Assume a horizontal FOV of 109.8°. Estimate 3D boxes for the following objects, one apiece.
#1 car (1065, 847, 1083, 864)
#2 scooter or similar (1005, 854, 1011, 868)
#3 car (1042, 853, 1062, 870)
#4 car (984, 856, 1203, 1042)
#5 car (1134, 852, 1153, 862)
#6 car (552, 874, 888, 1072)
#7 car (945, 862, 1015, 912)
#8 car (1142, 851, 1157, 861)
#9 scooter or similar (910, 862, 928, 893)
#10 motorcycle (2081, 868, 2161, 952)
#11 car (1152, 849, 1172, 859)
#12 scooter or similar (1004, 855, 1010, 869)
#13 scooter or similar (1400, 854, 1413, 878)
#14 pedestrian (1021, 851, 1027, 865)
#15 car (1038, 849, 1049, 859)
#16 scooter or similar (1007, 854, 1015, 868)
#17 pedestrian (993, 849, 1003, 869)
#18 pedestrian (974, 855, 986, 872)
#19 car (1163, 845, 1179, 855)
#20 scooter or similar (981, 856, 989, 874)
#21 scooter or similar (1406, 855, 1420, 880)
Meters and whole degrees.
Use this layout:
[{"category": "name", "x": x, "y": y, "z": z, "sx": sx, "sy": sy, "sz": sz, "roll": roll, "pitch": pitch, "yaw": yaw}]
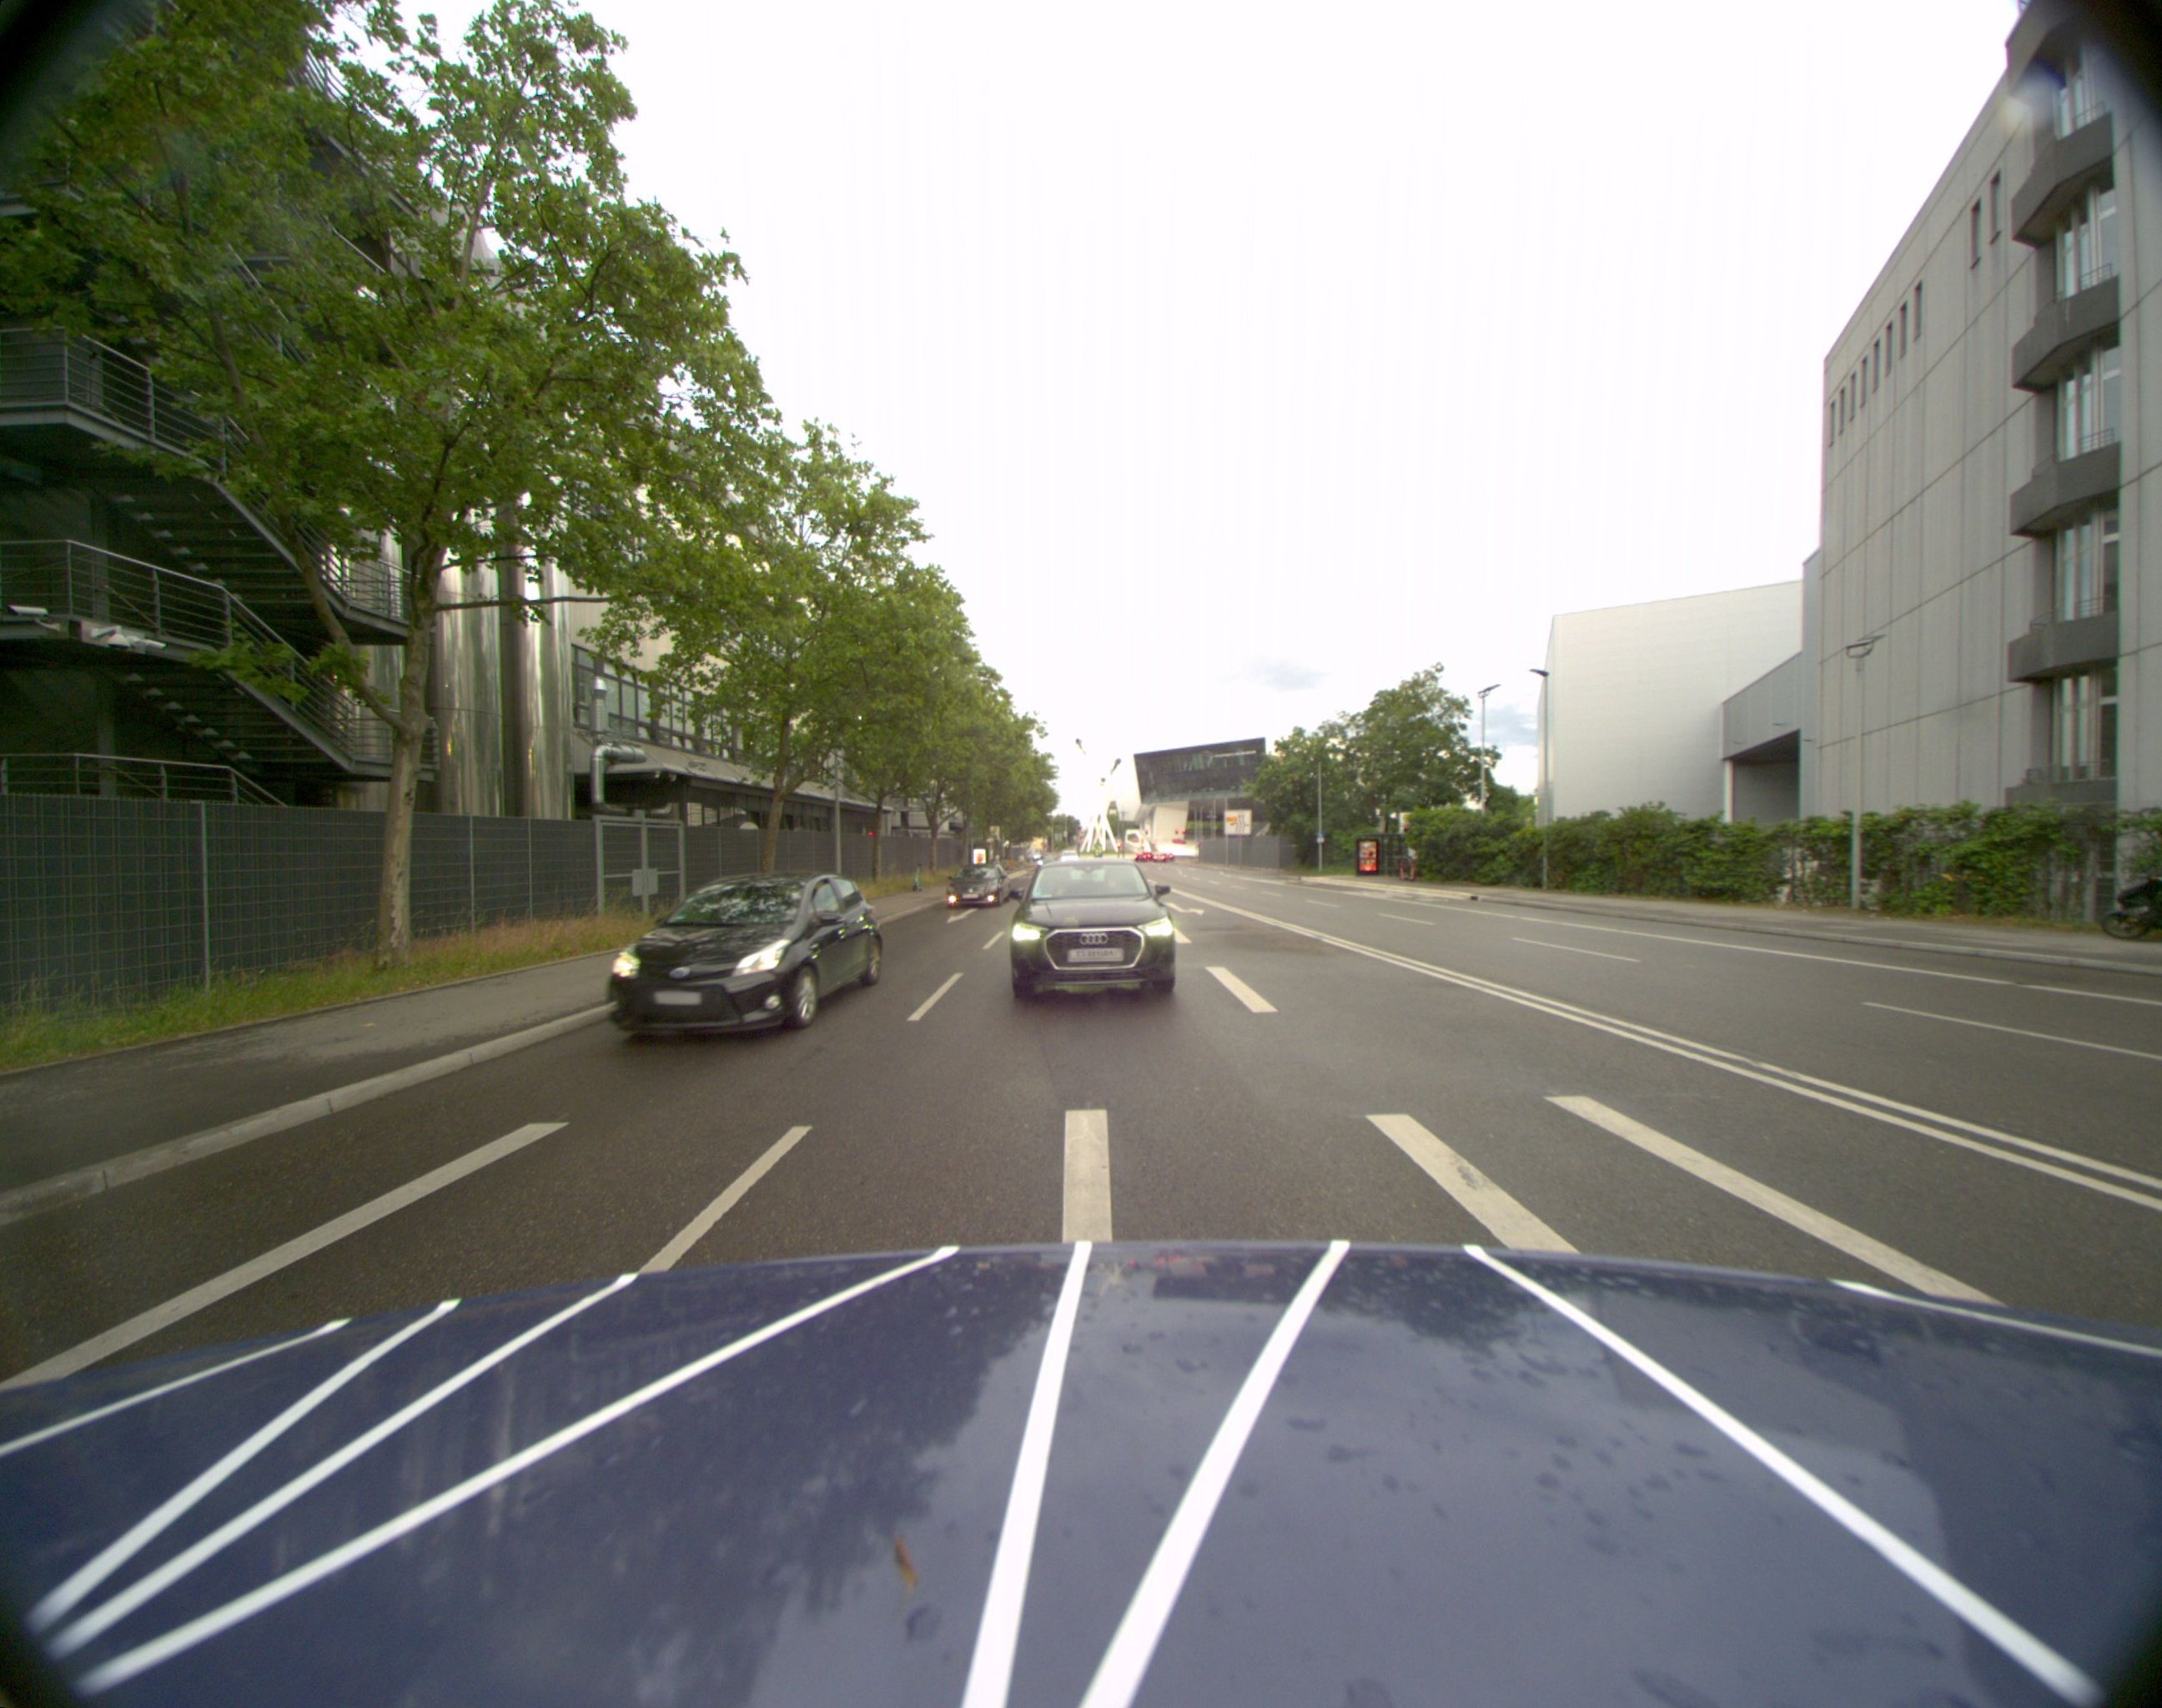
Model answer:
[{"category": "car", "x": -0.835, "y": 0.178, "z": 87.777, "sx": 1.951, "sy": 1.879, "sz": 4.490, "roll": 0, "pitch": 0, "yaw": -1}, {"category": "scooter or similar", "x": -7.062, "y": 0.702, "z": 73.677, "sx": 0.437, "sy": 1.288, "sz": 1.300, "roll": -1, "pitch": 1, "yaw": 3}, {"category": "car", "x": -2.944, "y": 0.729, "z": 76.888, "sx": 1.951, "sy": 1.610, "sz": 4.072, "roll": 0, "pitch": 0, "yaw": -1}, {"category": "car", "x": 0.057, "y": 0.875, "z": 9.615, "sx": 1.951, "sy": 1.609, "sz": 5.276, "roll": -2, "pitch": 0, "yaw": -1}, {"category": "car", "x": 10.103, "y": 0.498, "z": 122.636, "sx": 2.255, "sy": 1.469, "sz": 3.884, "roll": 0, "pitch": 1, "yaw": 18}, {"category": "car", "x": -3.451, "y": 1.018, "z": 8.245, "sx": 1.881, "sy": 1.485, "sz": 4.075, "roll": 0, "pitch": 0, "yaw": -3}, {"category": "car", "x": -3.412, "y": 1.063, "z": 26.429, "sx": 1.842, "sy": 1.444, "sz": 4.785, "roll": -2, "pitch": 0, "yaw": -1}, {"category": "car", "x": 11.617, "y": 0.321, "z": 128.304, "sx": 1.878, "sy": 1.641, "sz": 3.857, "roll": 0, "pitch": 0, "yaw": 16}, {"category": "scooter or similar", "x": -6.921, "y": 0.994, "z": 32.473, "sx": 0.329, "sy": 1.262, "sz": 1.109, "roll": -1, "pitch": 1, "yaw": 9}, {"category": "motorcycle", "x": 16.747, "y": 0.853, "z": 11.336, "sx": 0.786, "sy": 1.243, "sz": 2.157, "roll": -1, "pitch": 1, "yaw": 0}, {"category": "car", "x": 12.902, "y": -0.063, "z": 120.805, "sx": 2.267, "sy": 1.469, "sz": 4.052, "roll": 0, "pitch": 1, "yaw": 18}, {"category": "scooter or similar", "x": -6.961, "y": 0.714, "z": 71.542, "sx": 0.437, "sy": 1.288, "sz": 1.300, "roll": -1, "pitch": 1, "yaw": 3}, {"category": "scooter or similar", "x": 16.472, "y": 0.622, "z": 38.416, "sx": 0.389, "sy": 1.173, "sz": 1.251, "roll": 0, "pitch": 1, "yaw": 13}, {"category": "pedestrian", "x": -6.831, "y": 0.511, "z": 91.066, "sx": 0.723, "sy": 1.610, "sz": 0.833, "roll": 1, "pitch": 2, "yaw": -1}, {"category": "car", "x": -6.864, "y": 0.035, "z": 140.415, "sx": 1.951, "sy": 1.767, "sz": 4.490, "roll": 0, "pitch": 0, "yaw": -1}, {"category": "scooter or similar", "x": -6.956, "y": 0.685, "z": 75.636, "sx": 0.437, "sy": 1.288, "sz": 1.367, "roll": -1, "pitch": 1, "yaw": 7}, {"category": "pedestrian", "x": -7.372, "y": 0.432, "z": 67.694, "sx": 0.778, "sy": 1.700, "sz": 0.729, "roll": -1, "pitch": 1, "yaw": -1}, {"category": "pedestrian", "x": -8.542, "y": 0.769, "z": 64.186, "sx": 0.933, "sy": 1.408, "sz": 0.698, "roll": -1, "pitch": 1, "yaw": -1}, {"category": "car", "x": 15.173, "y": -0.608, "z": 127.385, "sx": 1.862, "sy": 1.641, "sz": 3.792, "roll": 0, "pitch": 0, "yaw": 19}, {"category": "scooter or similar", "x": -6.970, "y": 0.803, "z": 54.988, "sx": 0.329, "sy": 1.301, "sz": 1.246, "roll": -1, "pitch": 1, "yaw": 4}, {"category": "scooter or similar", "x": 16.164, "y": 0.667, "z": 37.043, "sx": 0.379, "sy": 1.174, "sz": 1.379, "roll": 0, "pitch": 1, "yaw": 13}]
